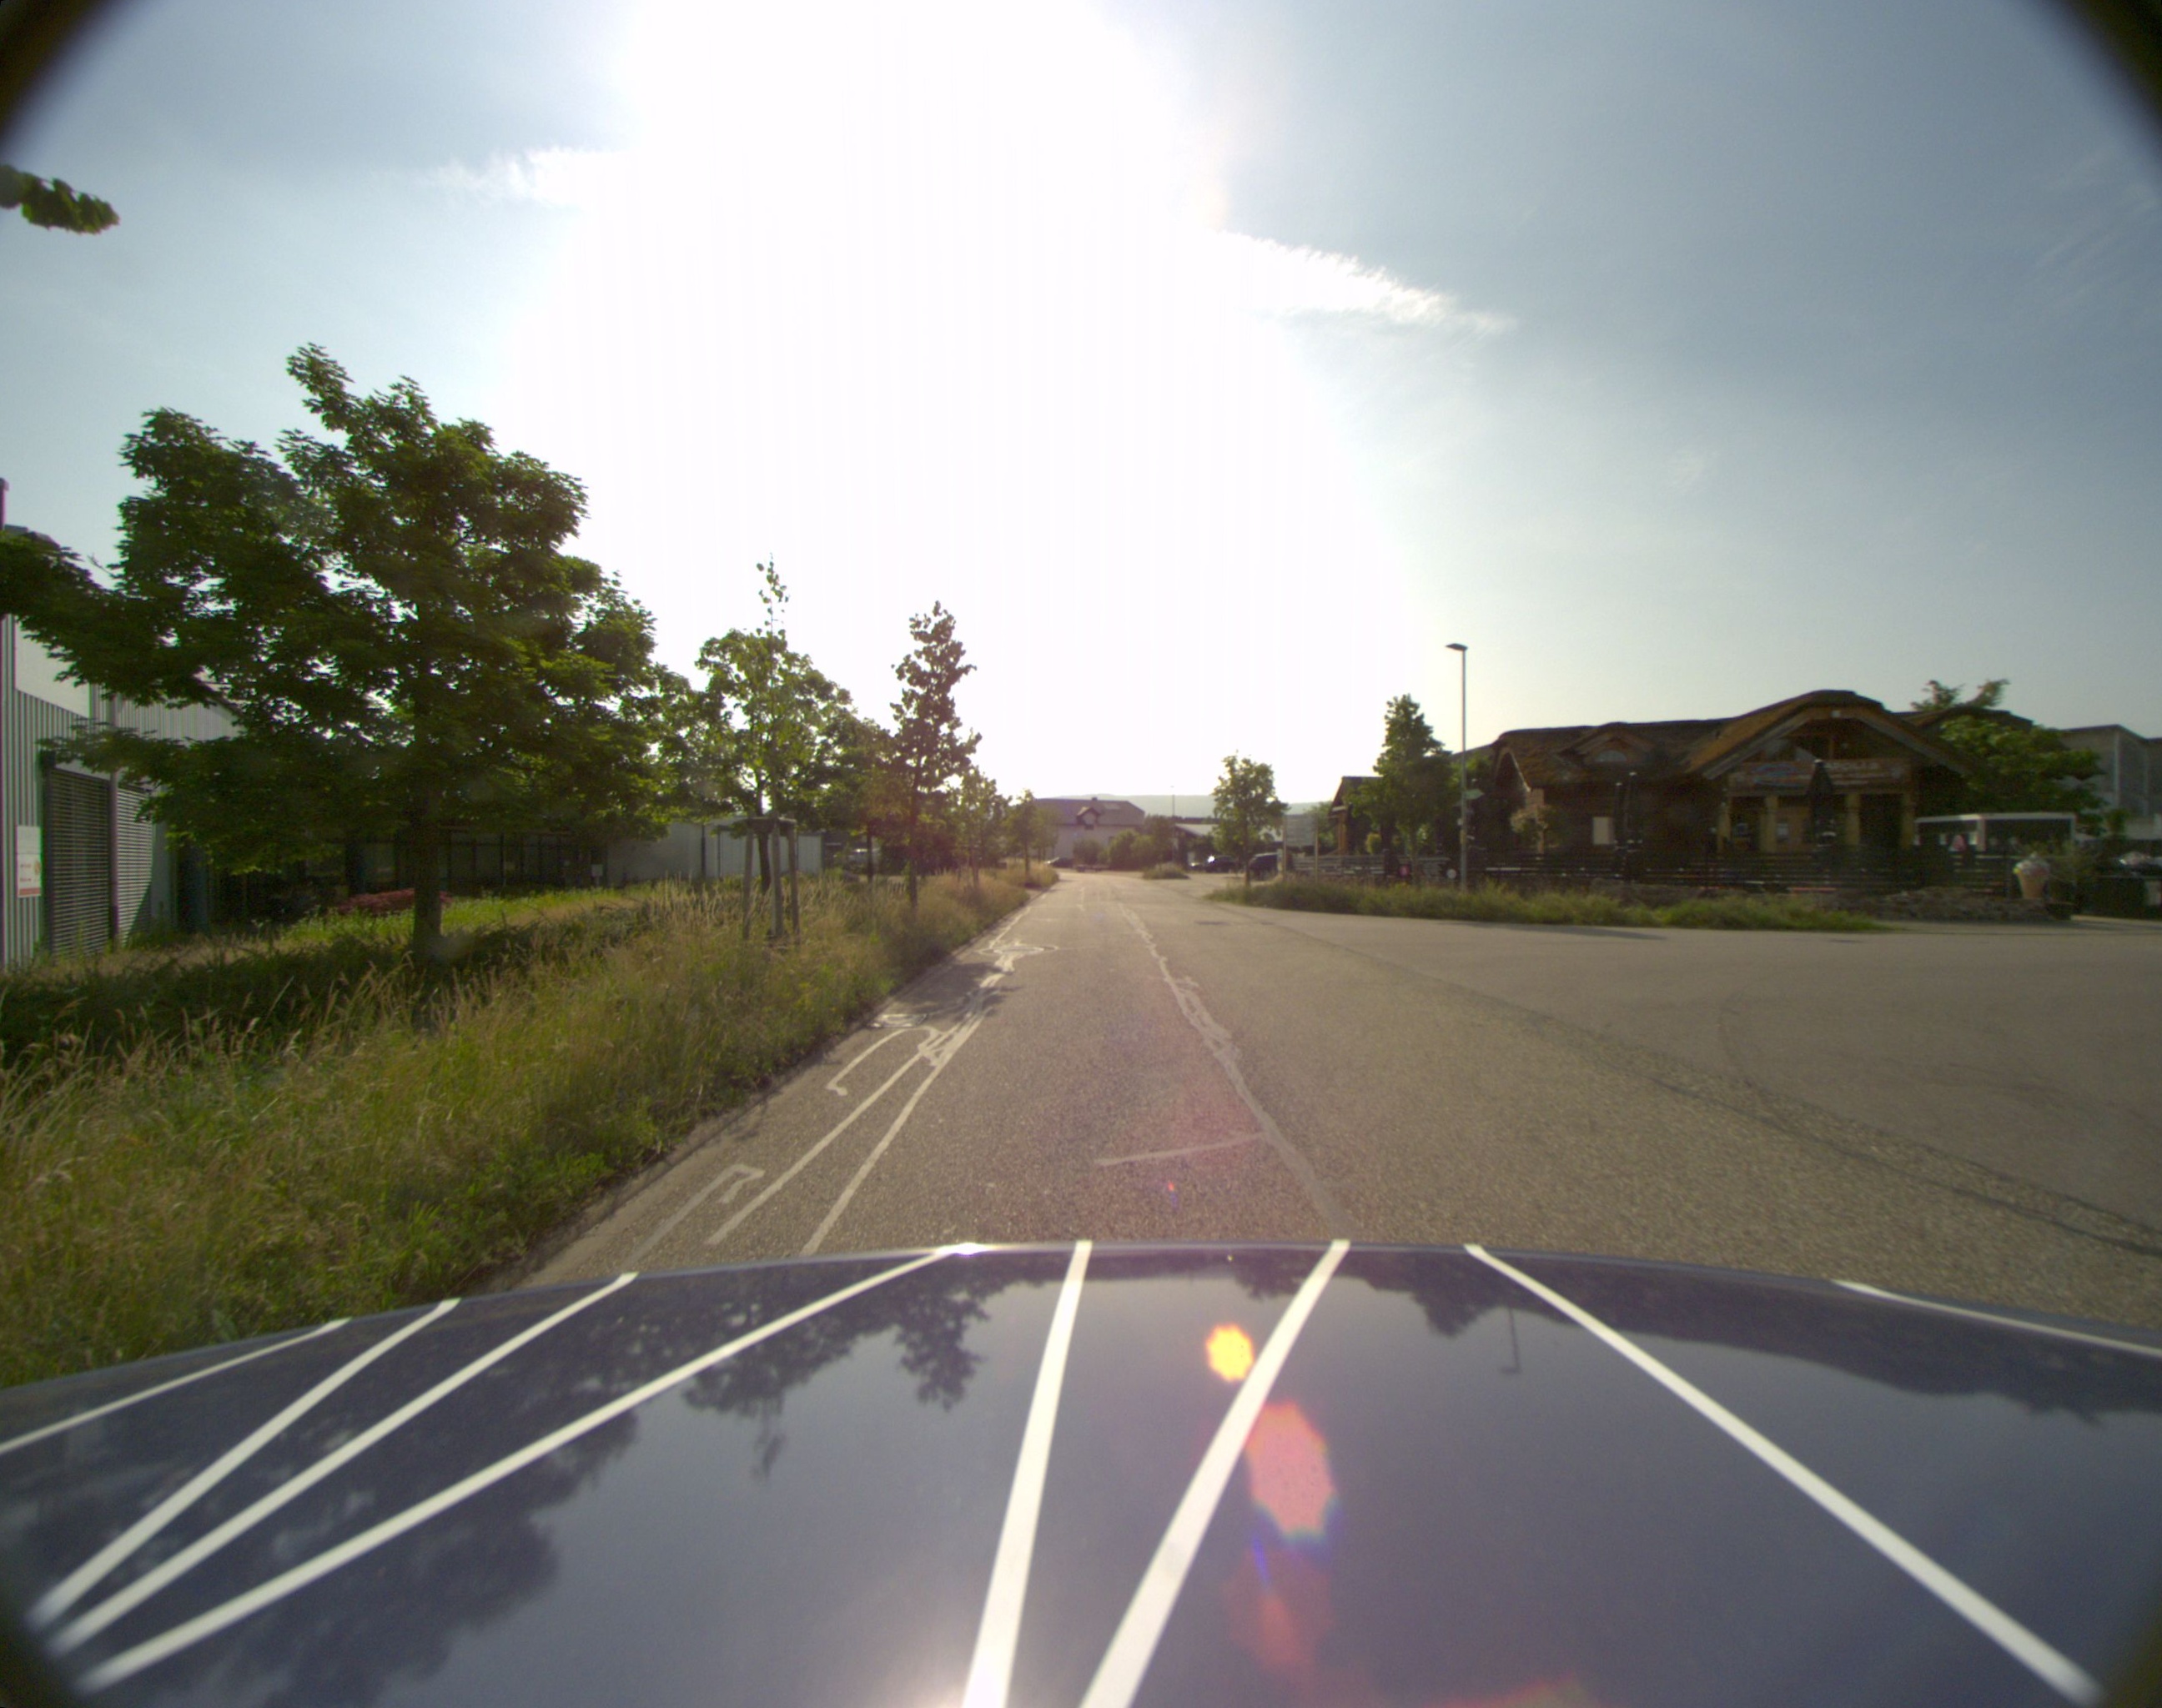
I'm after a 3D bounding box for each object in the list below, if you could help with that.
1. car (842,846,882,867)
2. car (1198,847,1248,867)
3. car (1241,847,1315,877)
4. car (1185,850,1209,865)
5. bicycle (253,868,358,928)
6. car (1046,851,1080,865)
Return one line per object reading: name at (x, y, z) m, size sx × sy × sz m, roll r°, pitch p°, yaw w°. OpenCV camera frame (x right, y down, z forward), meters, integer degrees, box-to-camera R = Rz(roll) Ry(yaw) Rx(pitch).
car at (-19.382, 0.218, 67.420) m, size 1.598 × 1.672 × 3.761 m, roll -2°, pitch 1°, yaw 16°
car at (12.928, 0.266, 69.161) m, size 4.004 × 1.783 × 1.996 m, roll -1°, pitch 1°, yaw -21°
car at (11.932, 0.474, 46.262) m, size 3.996 × 1.718 × 2.000 m, roll -1°, pitch 1°, yaw 1°
car at (12.017, 0.373, 79.107) m, size 1.615 × 1.472 × 3.548 m, roll -1°, pitch 0°, yaw -6°
bicycle at (-21.052, 1.147, 20.706) m, size 0.808 × 1.461 × 2.277 m, roll -3°, pitch 1°, yaw -12°
car at (-2.371, 0.535, 100.838) m, size 4.005 × 1.761 × 1.996 m, roll -1°, pitch 1°, yaw -23°
